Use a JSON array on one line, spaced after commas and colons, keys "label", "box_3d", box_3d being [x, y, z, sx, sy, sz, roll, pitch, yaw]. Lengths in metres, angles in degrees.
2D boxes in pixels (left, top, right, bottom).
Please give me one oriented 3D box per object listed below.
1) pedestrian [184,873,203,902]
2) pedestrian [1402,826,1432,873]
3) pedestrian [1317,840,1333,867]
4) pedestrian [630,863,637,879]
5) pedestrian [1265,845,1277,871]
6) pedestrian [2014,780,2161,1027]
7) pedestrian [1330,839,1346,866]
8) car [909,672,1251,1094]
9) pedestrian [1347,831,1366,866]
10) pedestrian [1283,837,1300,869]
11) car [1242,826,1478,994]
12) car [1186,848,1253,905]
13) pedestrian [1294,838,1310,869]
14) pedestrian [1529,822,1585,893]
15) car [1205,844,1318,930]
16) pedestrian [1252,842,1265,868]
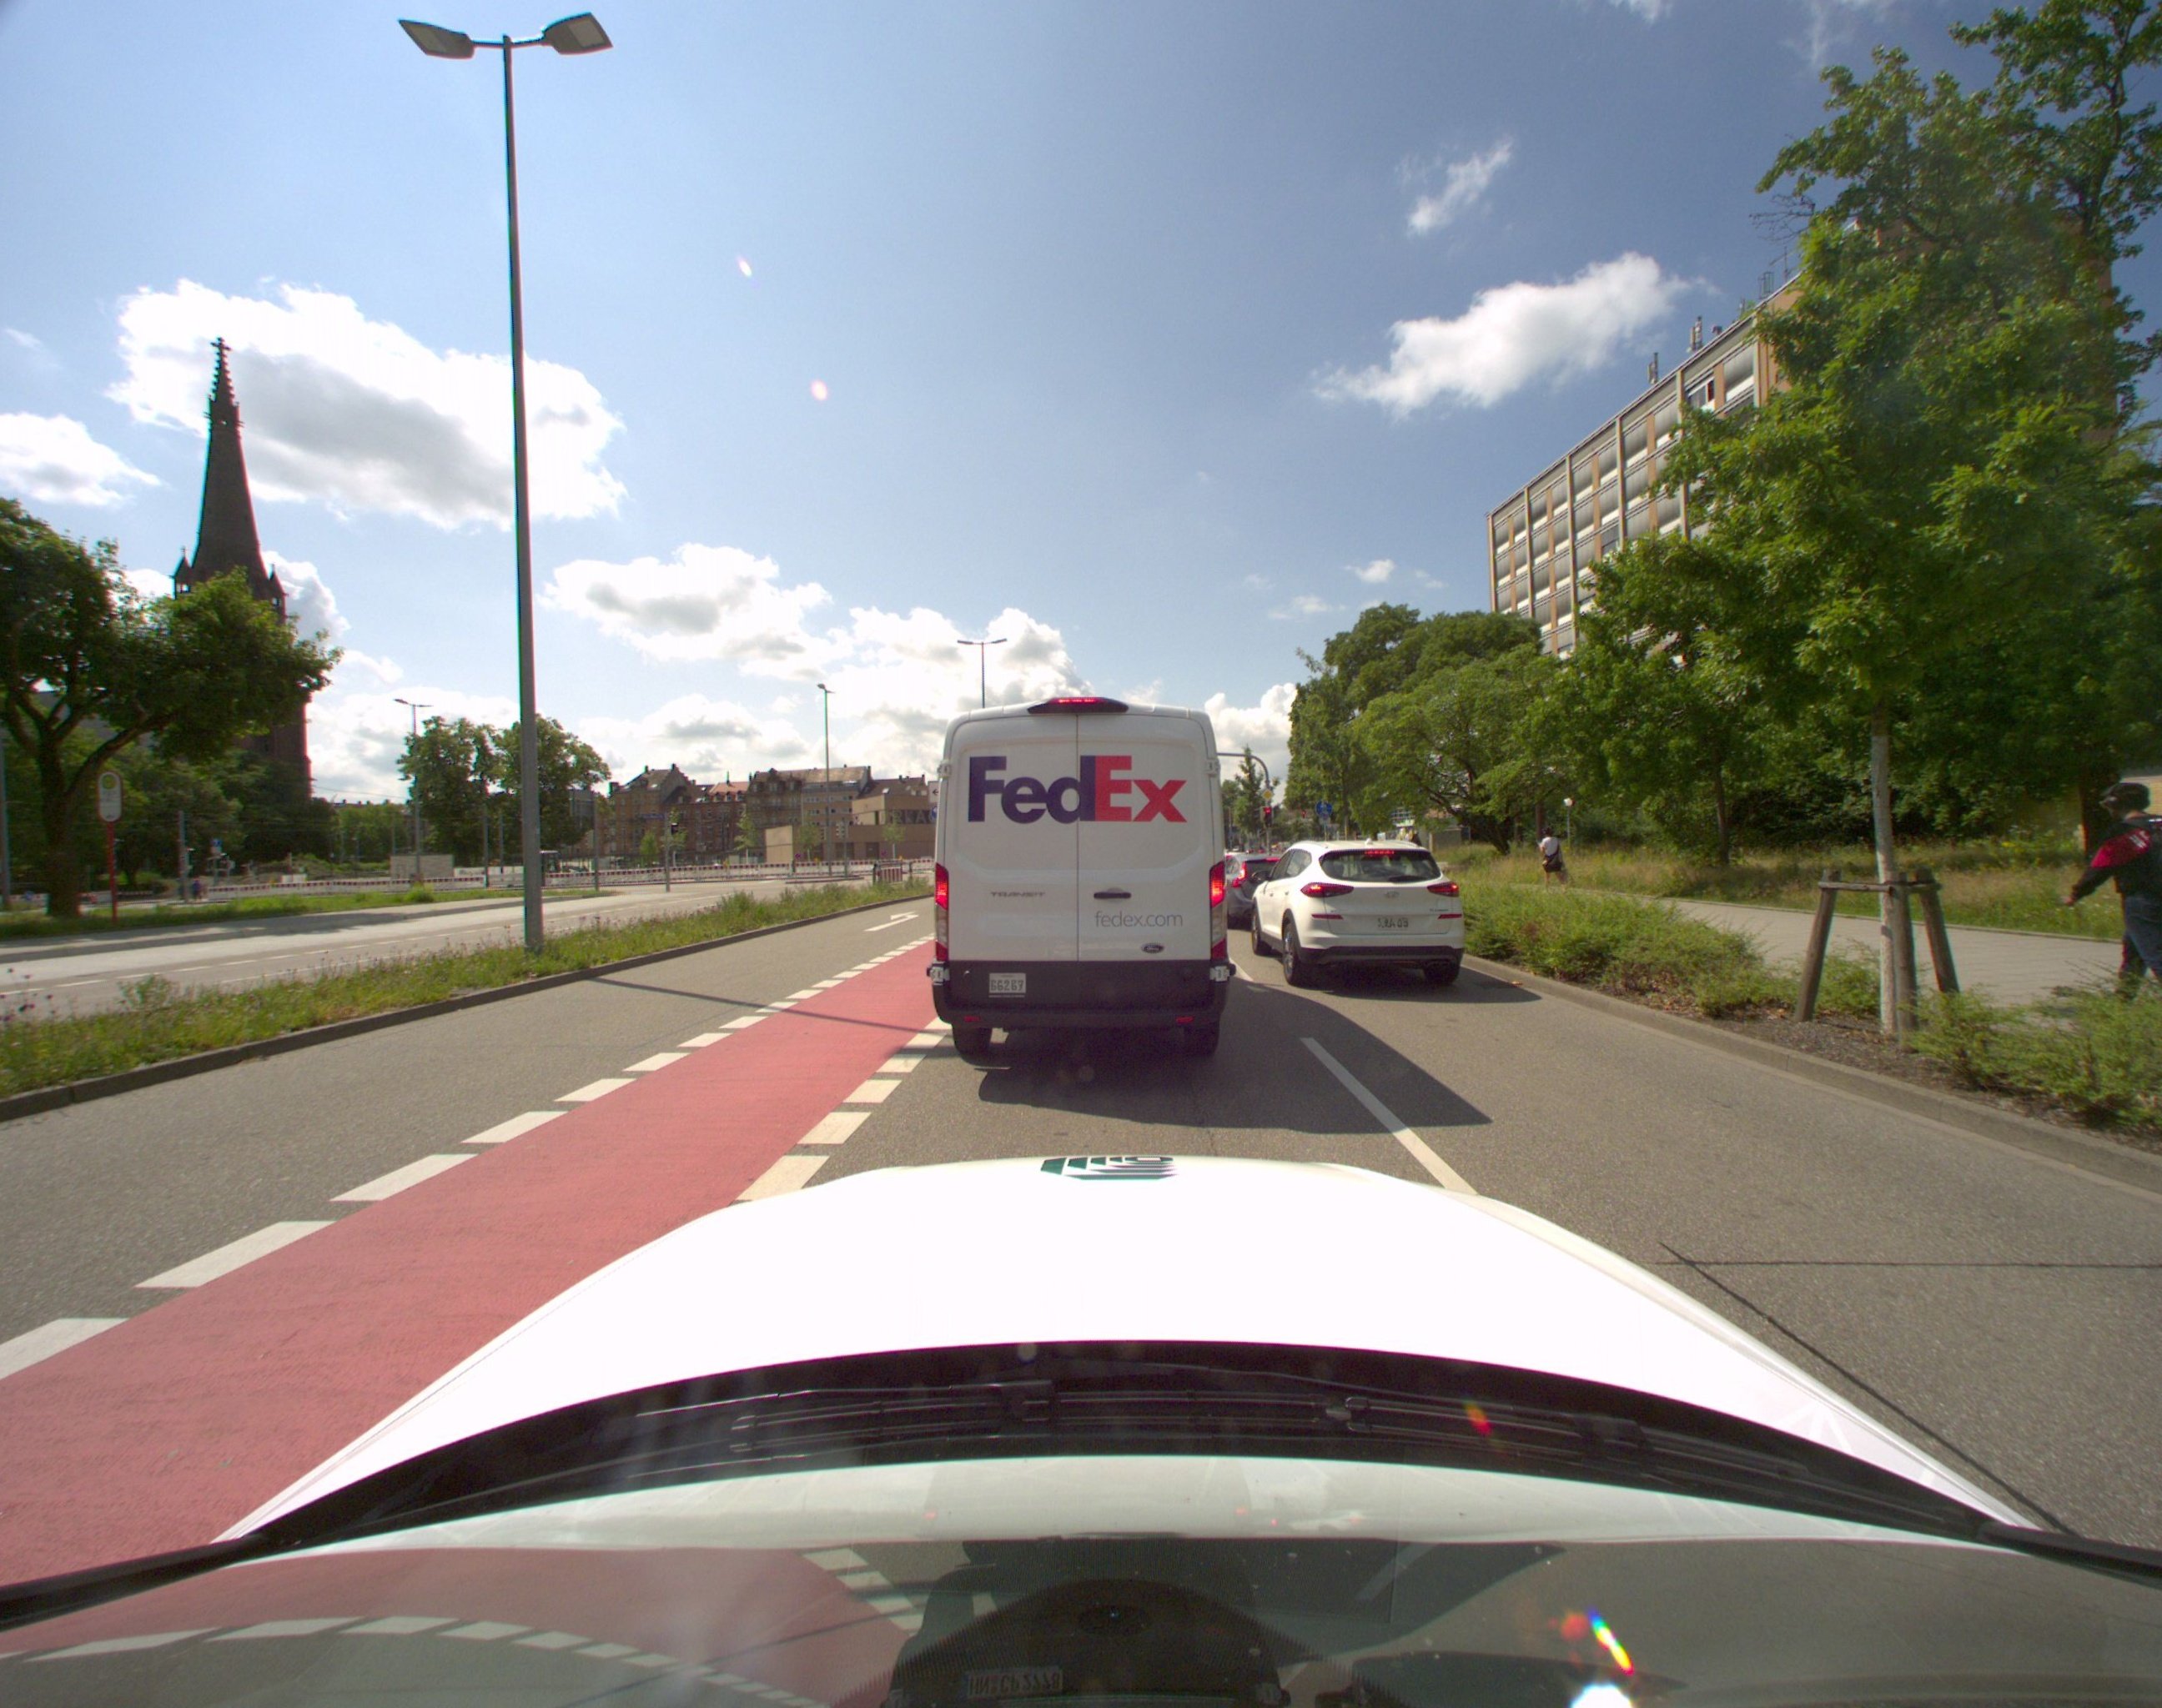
[{"label": "pedestrian", "box_3d": [-63.505, 2.364, 58.268, 0.631, 2.013, 0.645, -2, 0, -16]}, {"label": "pedestrian", "box_3d": [12.378, -0.168, 30.000, 0.755, 1.655, 0.817, -2, 0, 5]}, {"label": "pedestrian", "box_3d": [16.717, -0.027, 55.840, 0.758, 1.849, 0.814, -2, 0, -8]}, {"label": "pedestrian", "box_3d": [-46.895, 1.747, 85.347, 0.420, 1.652, 0.420, -1, -1, 36]}, {"label": "pedestrian", "box_3d": [13.730, 0.308, 58.874, 0.753, 1.849, 0.820, -2, 0, 16]}, {"label": "pedestrian", "box_3d": [7.625, 0.325, 5.912, 0.753, 1.684, 0.819, -2, 0, 13]}, {"label": "pedestrian", "box_3d": [17.677, -0.097, 56.099, 0.758, 1.849, 0.814, -2, 0, -6]}, {"label": "car", "box_3d": [0.119, 0.174, 7.300, 2.064, 2.581, 4.432, -2, 0, 3]}, {"label": "pedestrian", "box_3d": [14.377, -0.278, 42.518, 0.754, 1.789, 0.818, -2, 0, 10]}, {"label": "pedestrian", "box_3d": [12.476, -0.047, 48.258, 0.755, 1.849, 0.817, -2, 0, 3]}, {"label": "car", "box_3d": [3.262, 0.566, 10.371, 1.807, 1.678, 3.978, -2, 0, 3]}, {"label": "car", "box_3d": [3.892, 0.589, 23.380, 1.493, 1.464, 3.477, -2, 0, 3]}, {"label": "pedestrian", "box_3d": [13.264, -0.041, 48.801, 0.755, 1.849, 0.817, -2, 0, 5]}, {"label": "pedestrian", "box_3d": [10.806, 0.082, 18.515, 0.756, 1.557, 0.817, -2, 0, 2]}, {"label": "car", "box_3d": [3.597, 0.592, 16.837, 1.684, 1.549, 3.724, -2, 0, 3]}, {"label": "pedestrian", "box_3d": [13.034, 0.055, 59.736, 0.810, 1.849, 0.762, -2, 0, 5]}]
